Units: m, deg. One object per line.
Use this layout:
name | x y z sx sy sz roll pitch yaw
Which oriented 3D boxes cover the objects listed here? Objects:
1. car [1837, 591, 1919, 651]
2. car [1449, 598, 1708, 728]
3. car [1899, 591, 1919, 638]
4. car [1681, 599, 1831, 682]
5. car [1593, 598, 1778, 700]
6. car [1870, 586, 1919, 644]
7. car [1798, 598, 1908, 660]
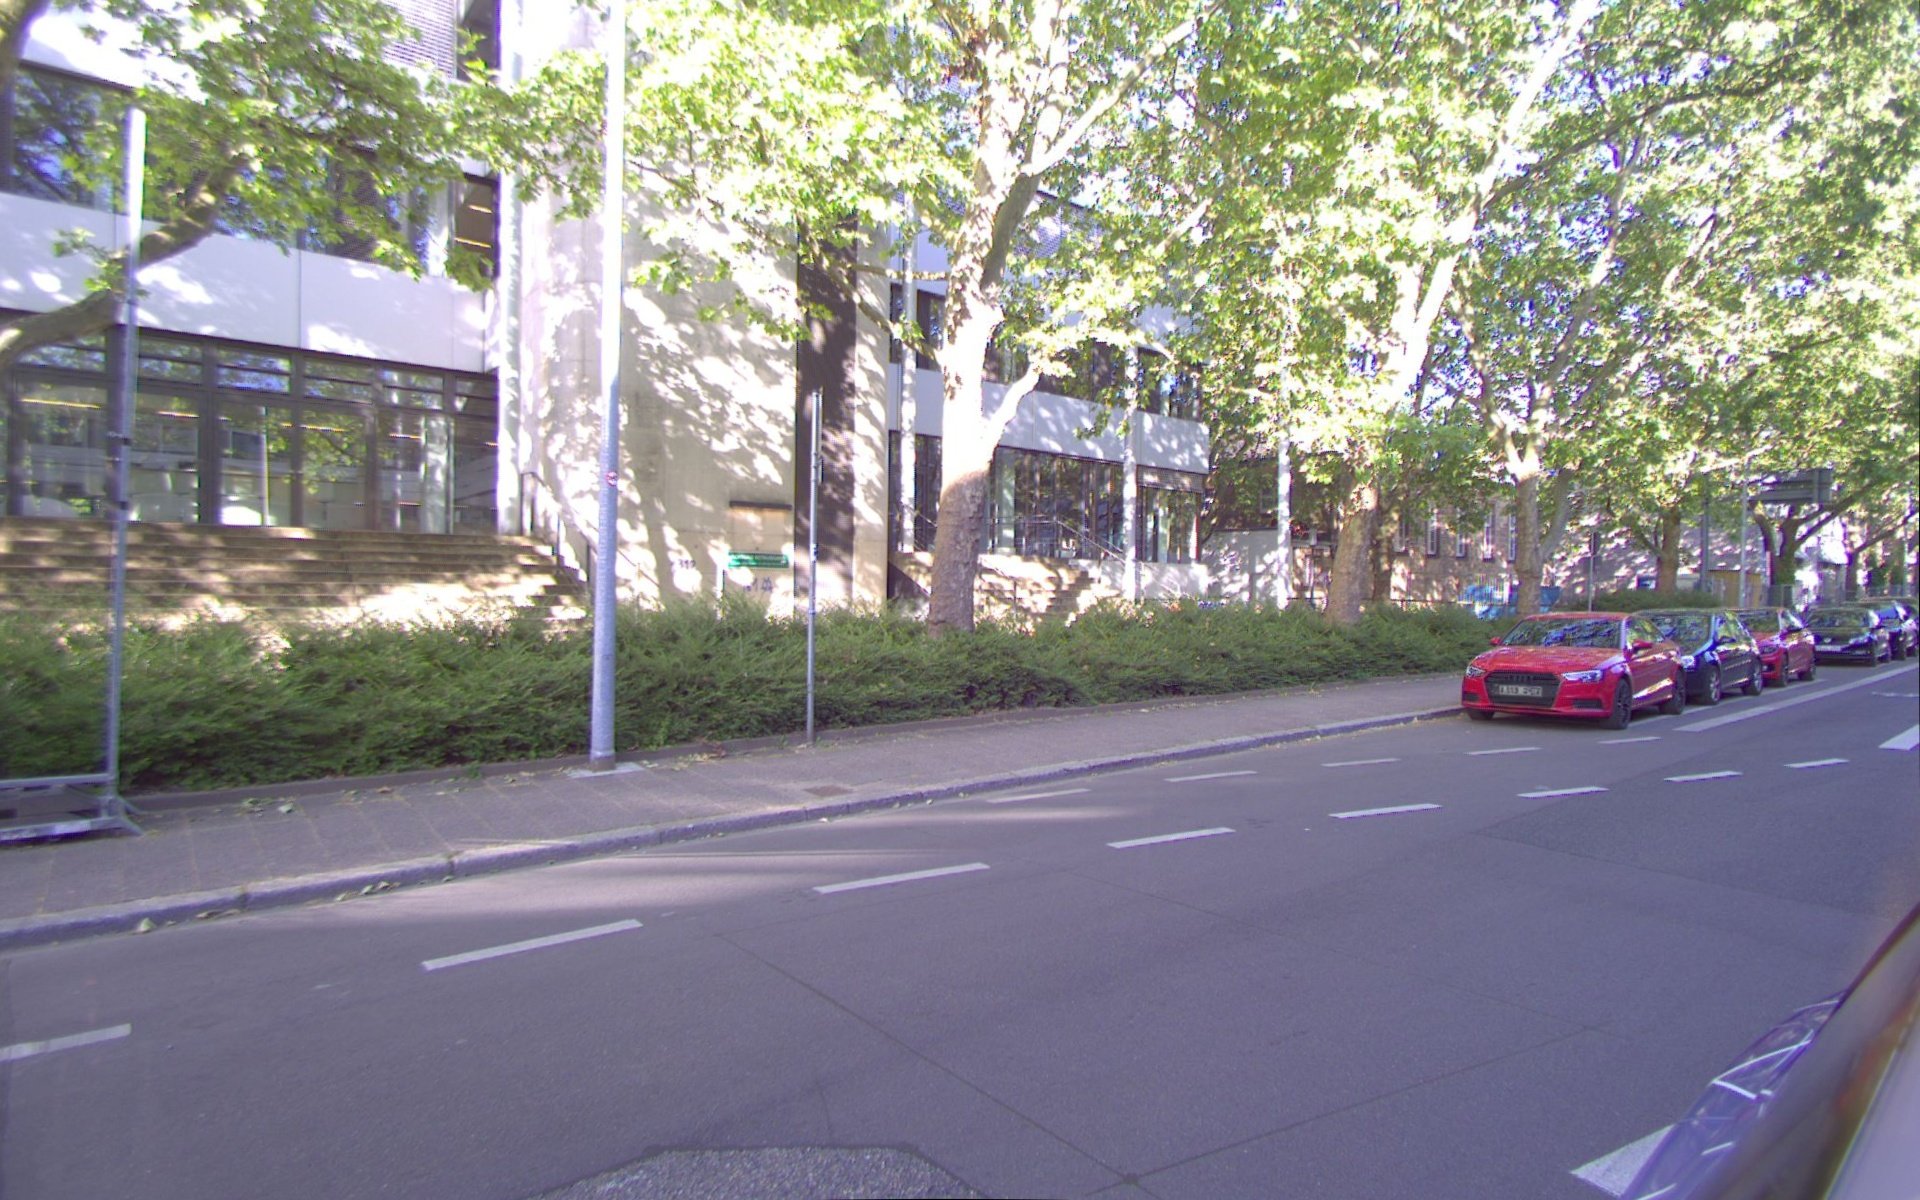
car | 26.592 0.580 29.018 3.777 1.607 1.634 0 -1 -41
car | 8.361 0.720 13.544 4.053 1.483 1.802 0 -1 -41
car | 35.942 0.525 37.232 3.777 1.675 1.634 0 -1 -41
car | 15.693 0.721 19.900 3.674 1.483 1.634 0 -1 -41
car | 11.878 0.716 16.502 3.674 1.483 1.634 0 -1 -41
car | 31.087 0.471 32.988 3.777 1.828 1.634 0 -1 -41
car | 22.919 0.693 25.945 3.674 1.483 1.634 0 -1 -41
